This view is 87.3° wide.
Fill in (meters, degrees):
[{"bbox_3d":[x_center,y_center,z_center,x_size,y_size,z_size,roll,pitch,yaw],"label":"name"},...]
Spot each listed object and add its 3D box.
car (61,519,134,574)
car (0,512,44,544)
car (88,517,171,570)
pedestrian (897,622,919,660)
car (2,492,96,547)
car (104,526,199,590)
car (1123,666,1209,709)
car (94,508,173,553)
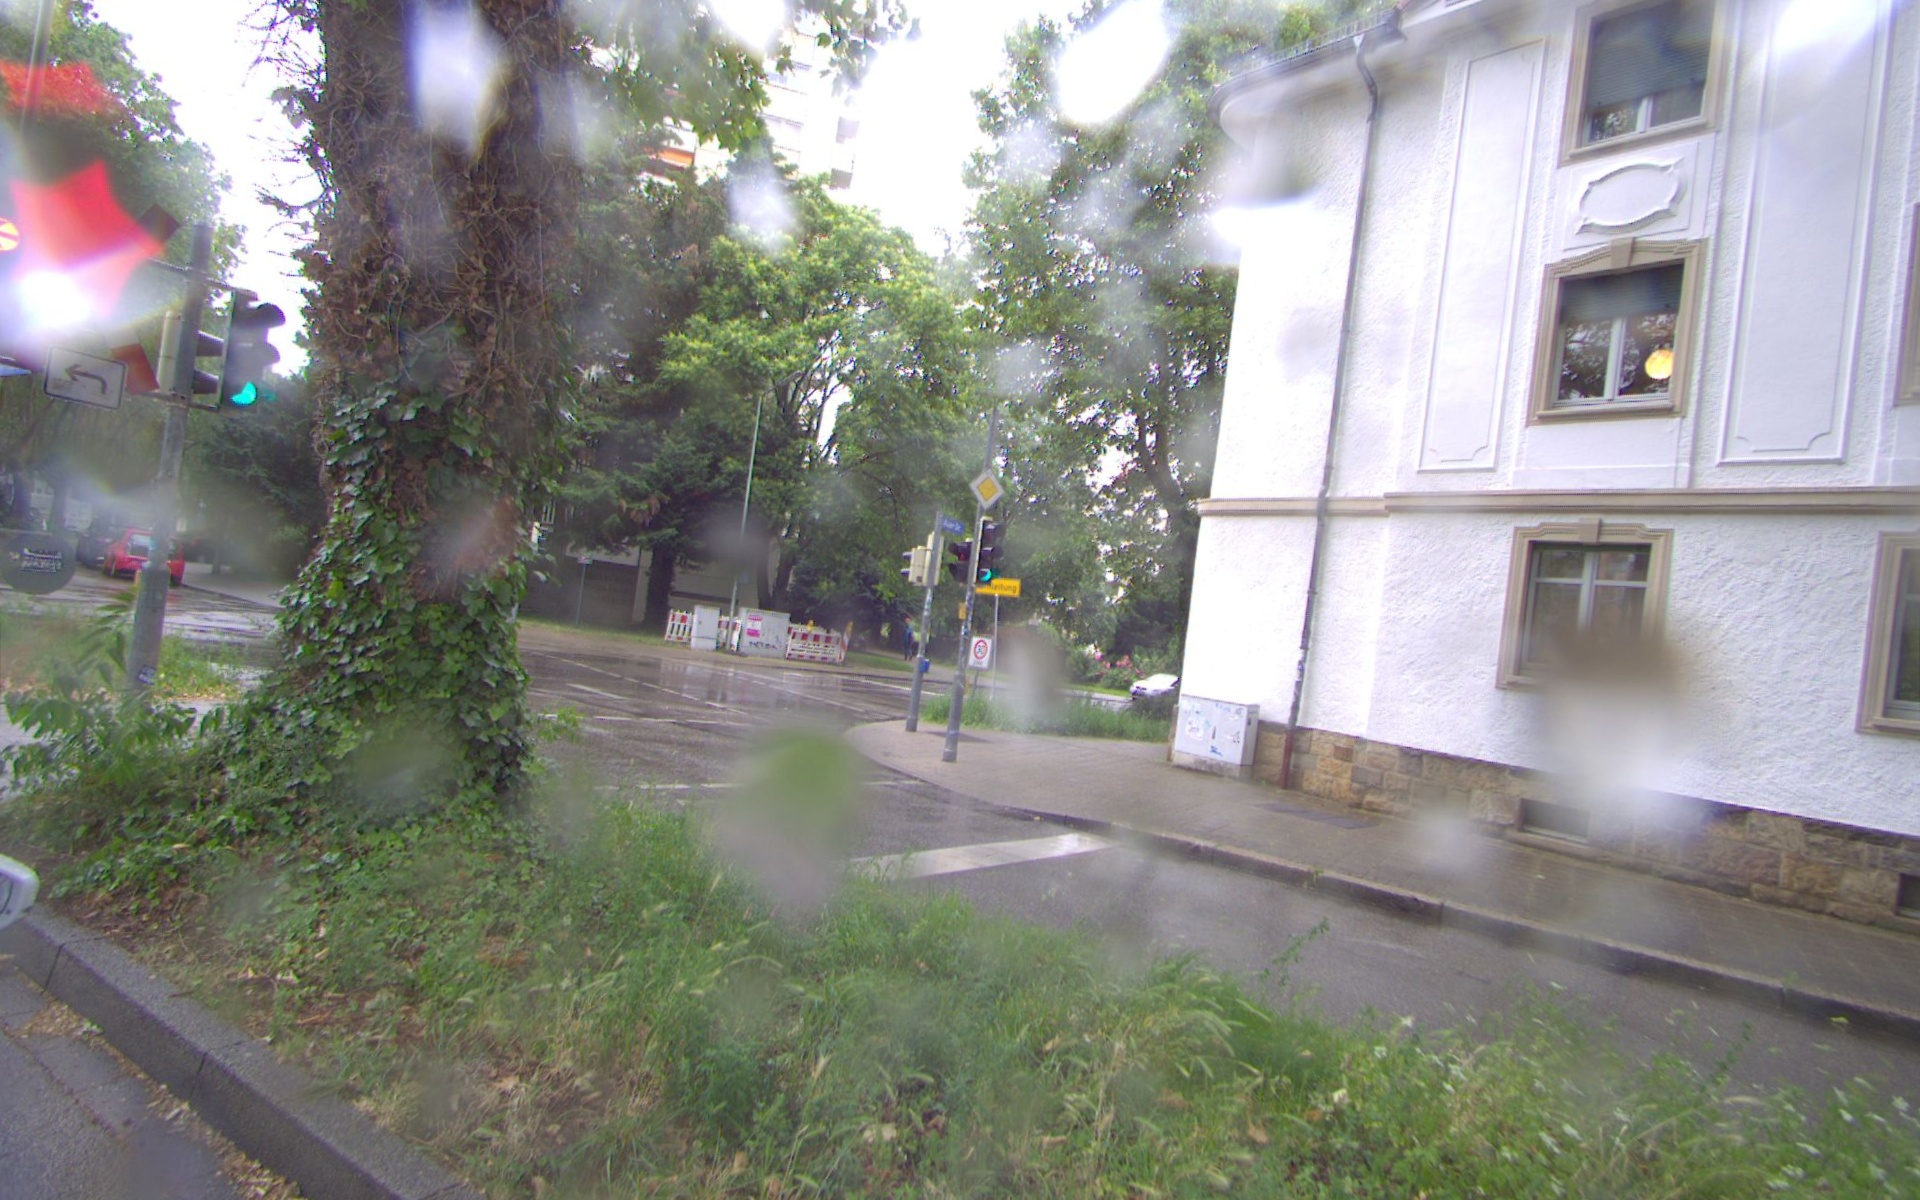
[{"bbox_3d":[-33.127,-2.088,38.608,1.779,1.747,3.951,9,-2,-44],"label":"car"},{"bbox_3d":[-56.203,-4.374,58.630,1.974,1.565,3.980,6,-3,44],"label":"car"},{"bbox_3d":[-28.097,-1.934,34.000,1.780,1.363,3.879,10,-2,-44],"label":"car"},{"bbox_3d":[-2.732,2.157,52.804,0.675,1.863,0.707,8,-1,-44],"label":"pedestrian"},{"bbox_3d":[-61.109,-5.388,67.534,4.680,2.982,2.043,7,-1,12],"label":"car"},{"bbox_3d":[-24.830,-1.306,30.844,1.788,1.515,3.950,10,-2,-44],"label":"car"},{"bbox_3d":[9.413,4.002,45.805,1.829,1.473,3.979,6,-3,45],"label":"car"},{"bbox_3d":[-69.647,-5.839,84.815,4.683,2.982,2.001,7,-1,1],"label":"car"}]
